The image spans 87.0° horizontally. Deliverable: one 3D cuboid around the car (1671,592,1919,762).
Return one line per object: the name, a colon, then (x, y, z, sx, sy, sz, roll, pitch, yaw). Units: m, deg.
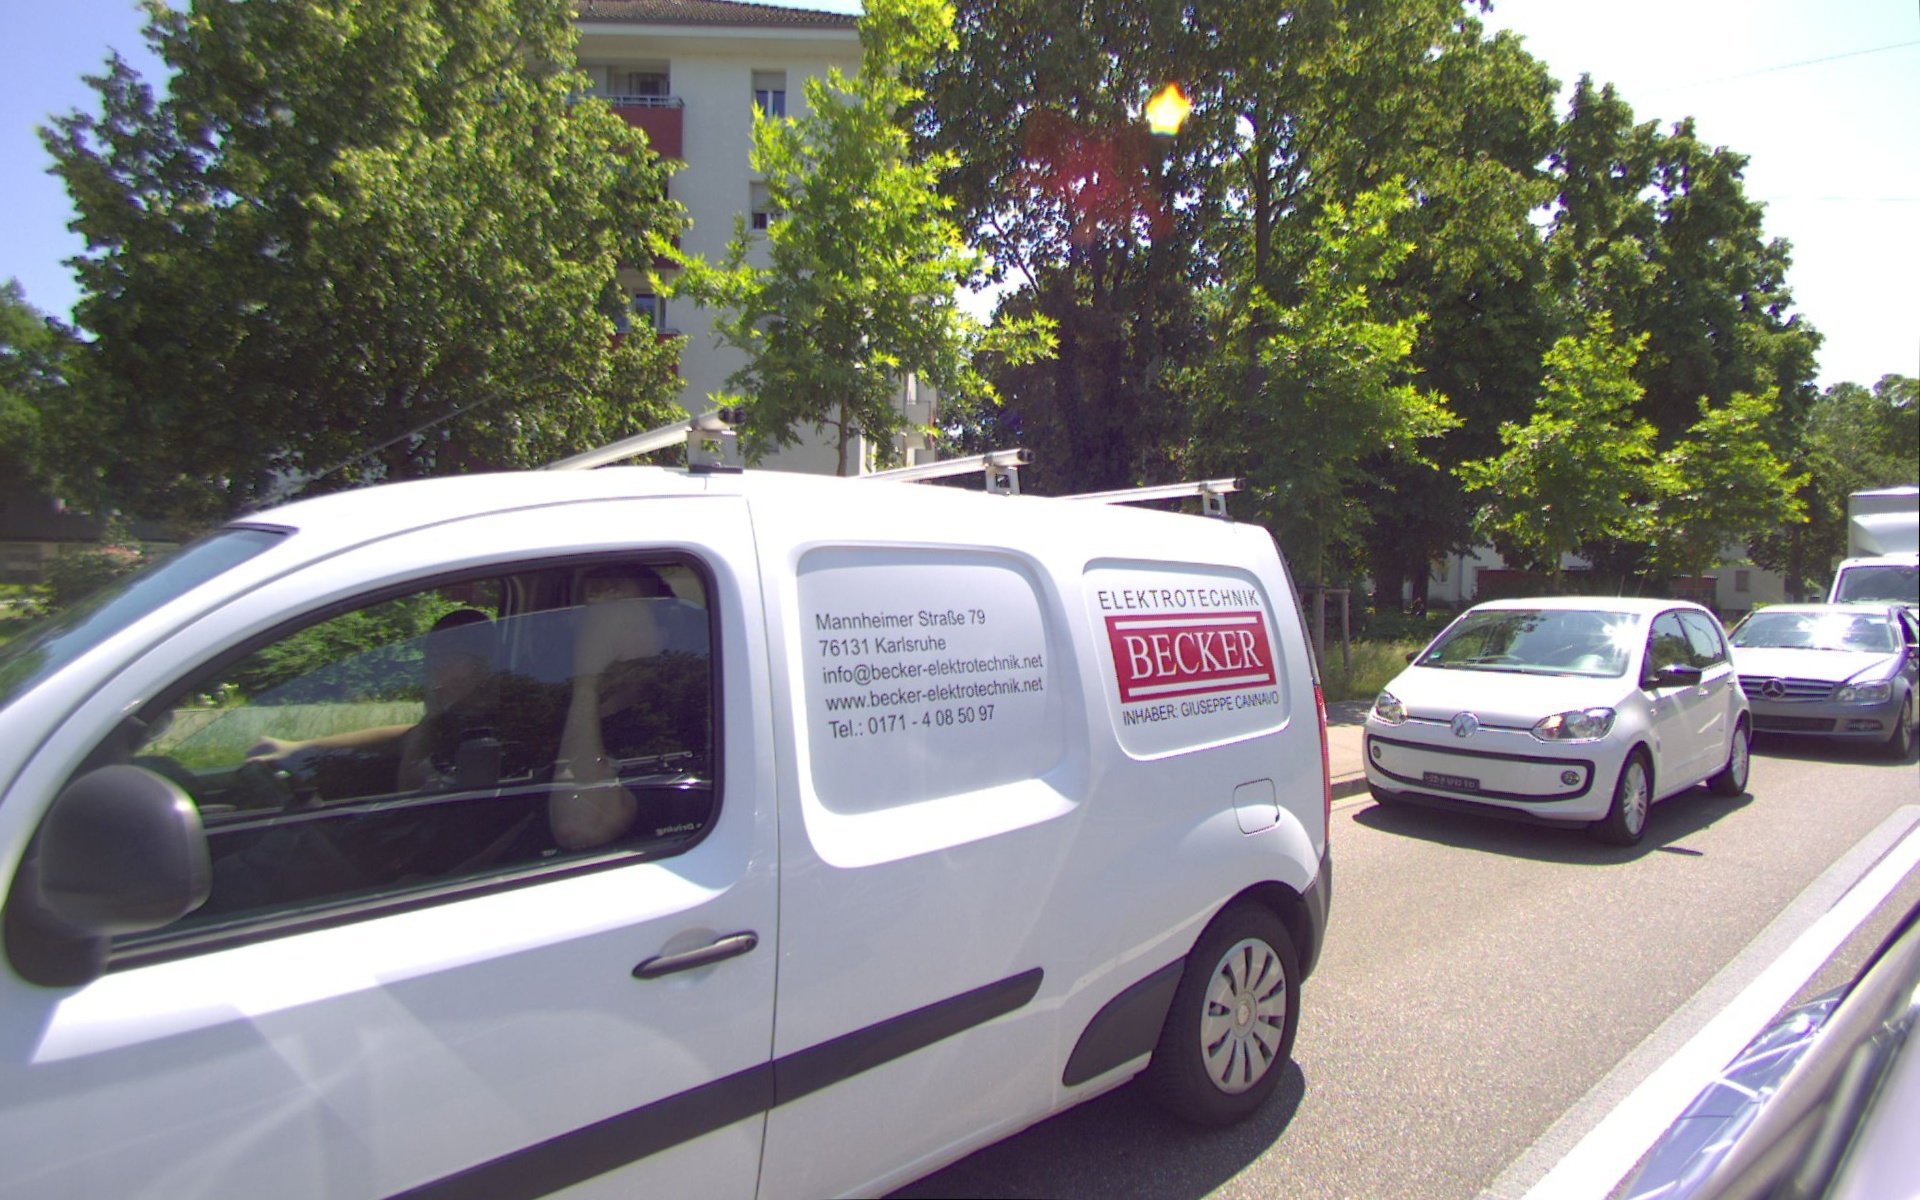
car: (9.234, 0.654, 10.739, 4.016, 1.426, 1.839, 0, 1, -41)

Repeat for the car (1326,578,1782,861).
car: (4.401, 0.621, 7.289, 3.705, 1.497, 1.729, 0, 1, -41)

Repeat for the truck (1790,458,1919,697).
truck: (16.517, -0.338, 16.974, 7.778, 3.387, 2.434, 0, 1, -39)

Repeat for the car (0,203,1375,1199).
car: (-0.993, 0.454, 2.536, 4.370, 1.849, 1.997, 0, 1, -41)
